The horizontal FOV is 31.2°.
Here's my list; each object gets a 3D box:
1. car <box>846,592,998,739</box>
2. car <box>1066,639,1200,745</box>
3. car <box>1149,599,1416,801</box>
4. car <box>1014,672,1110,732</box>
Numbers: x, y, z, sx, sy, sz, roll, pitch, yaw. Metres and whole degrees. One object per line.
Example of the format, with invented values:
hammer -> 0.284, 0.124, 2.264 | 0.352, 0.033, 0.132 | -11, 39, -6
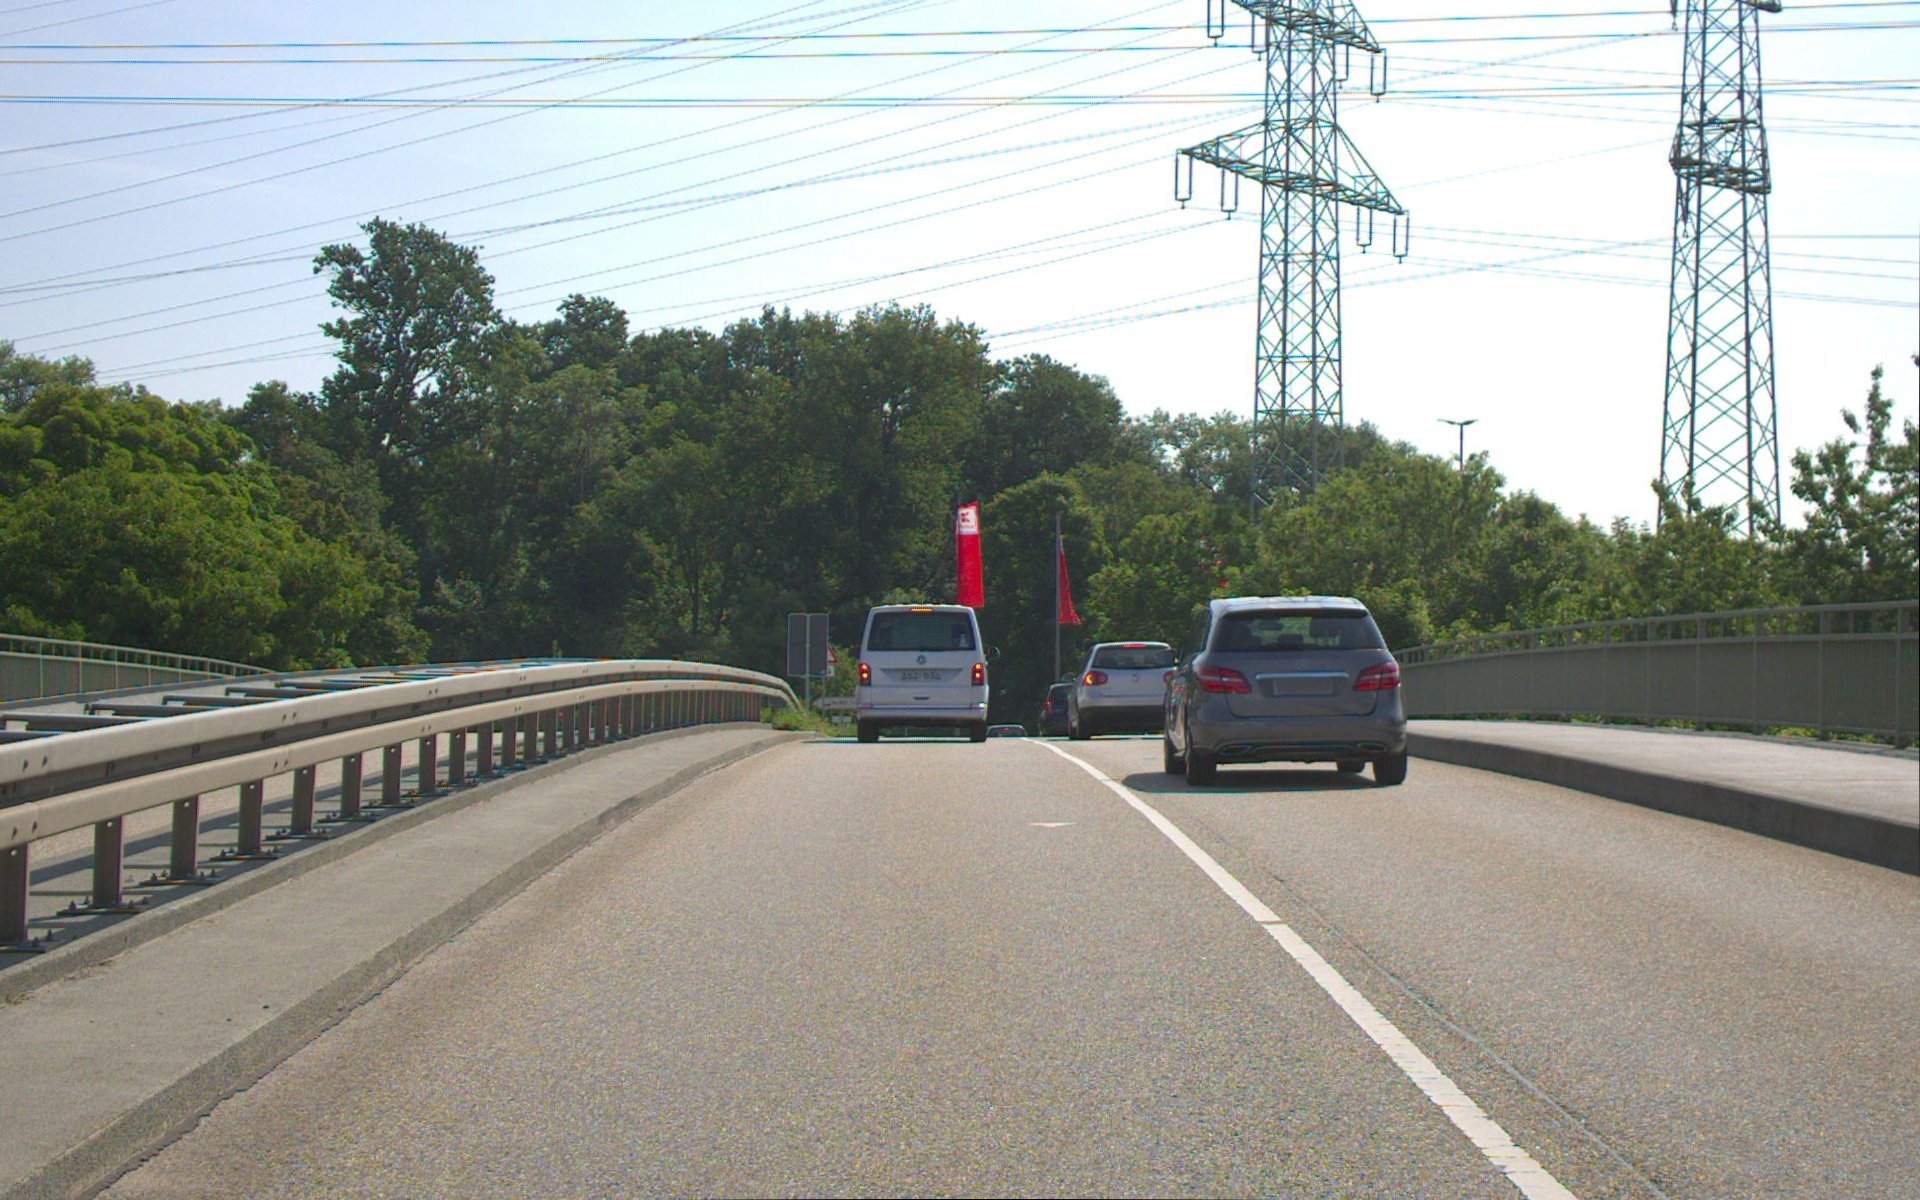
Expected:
car -> -0.508, 0.921, 49.960 | 2.039, 2.007, 4.000 | -1, 0, 1
car -> 2.597, 1.421, 52.455 | 1.856, 1.524, 4.143 | -1, -2, 1
car -> 2.656, 0.789, 29.148 | 1.856, 1.524, 4.144 | -1, 0, 0
car -> 2.445, 2.434, 81.668 | 1.774, 1.327, 3.738 | -2, -3, 9
